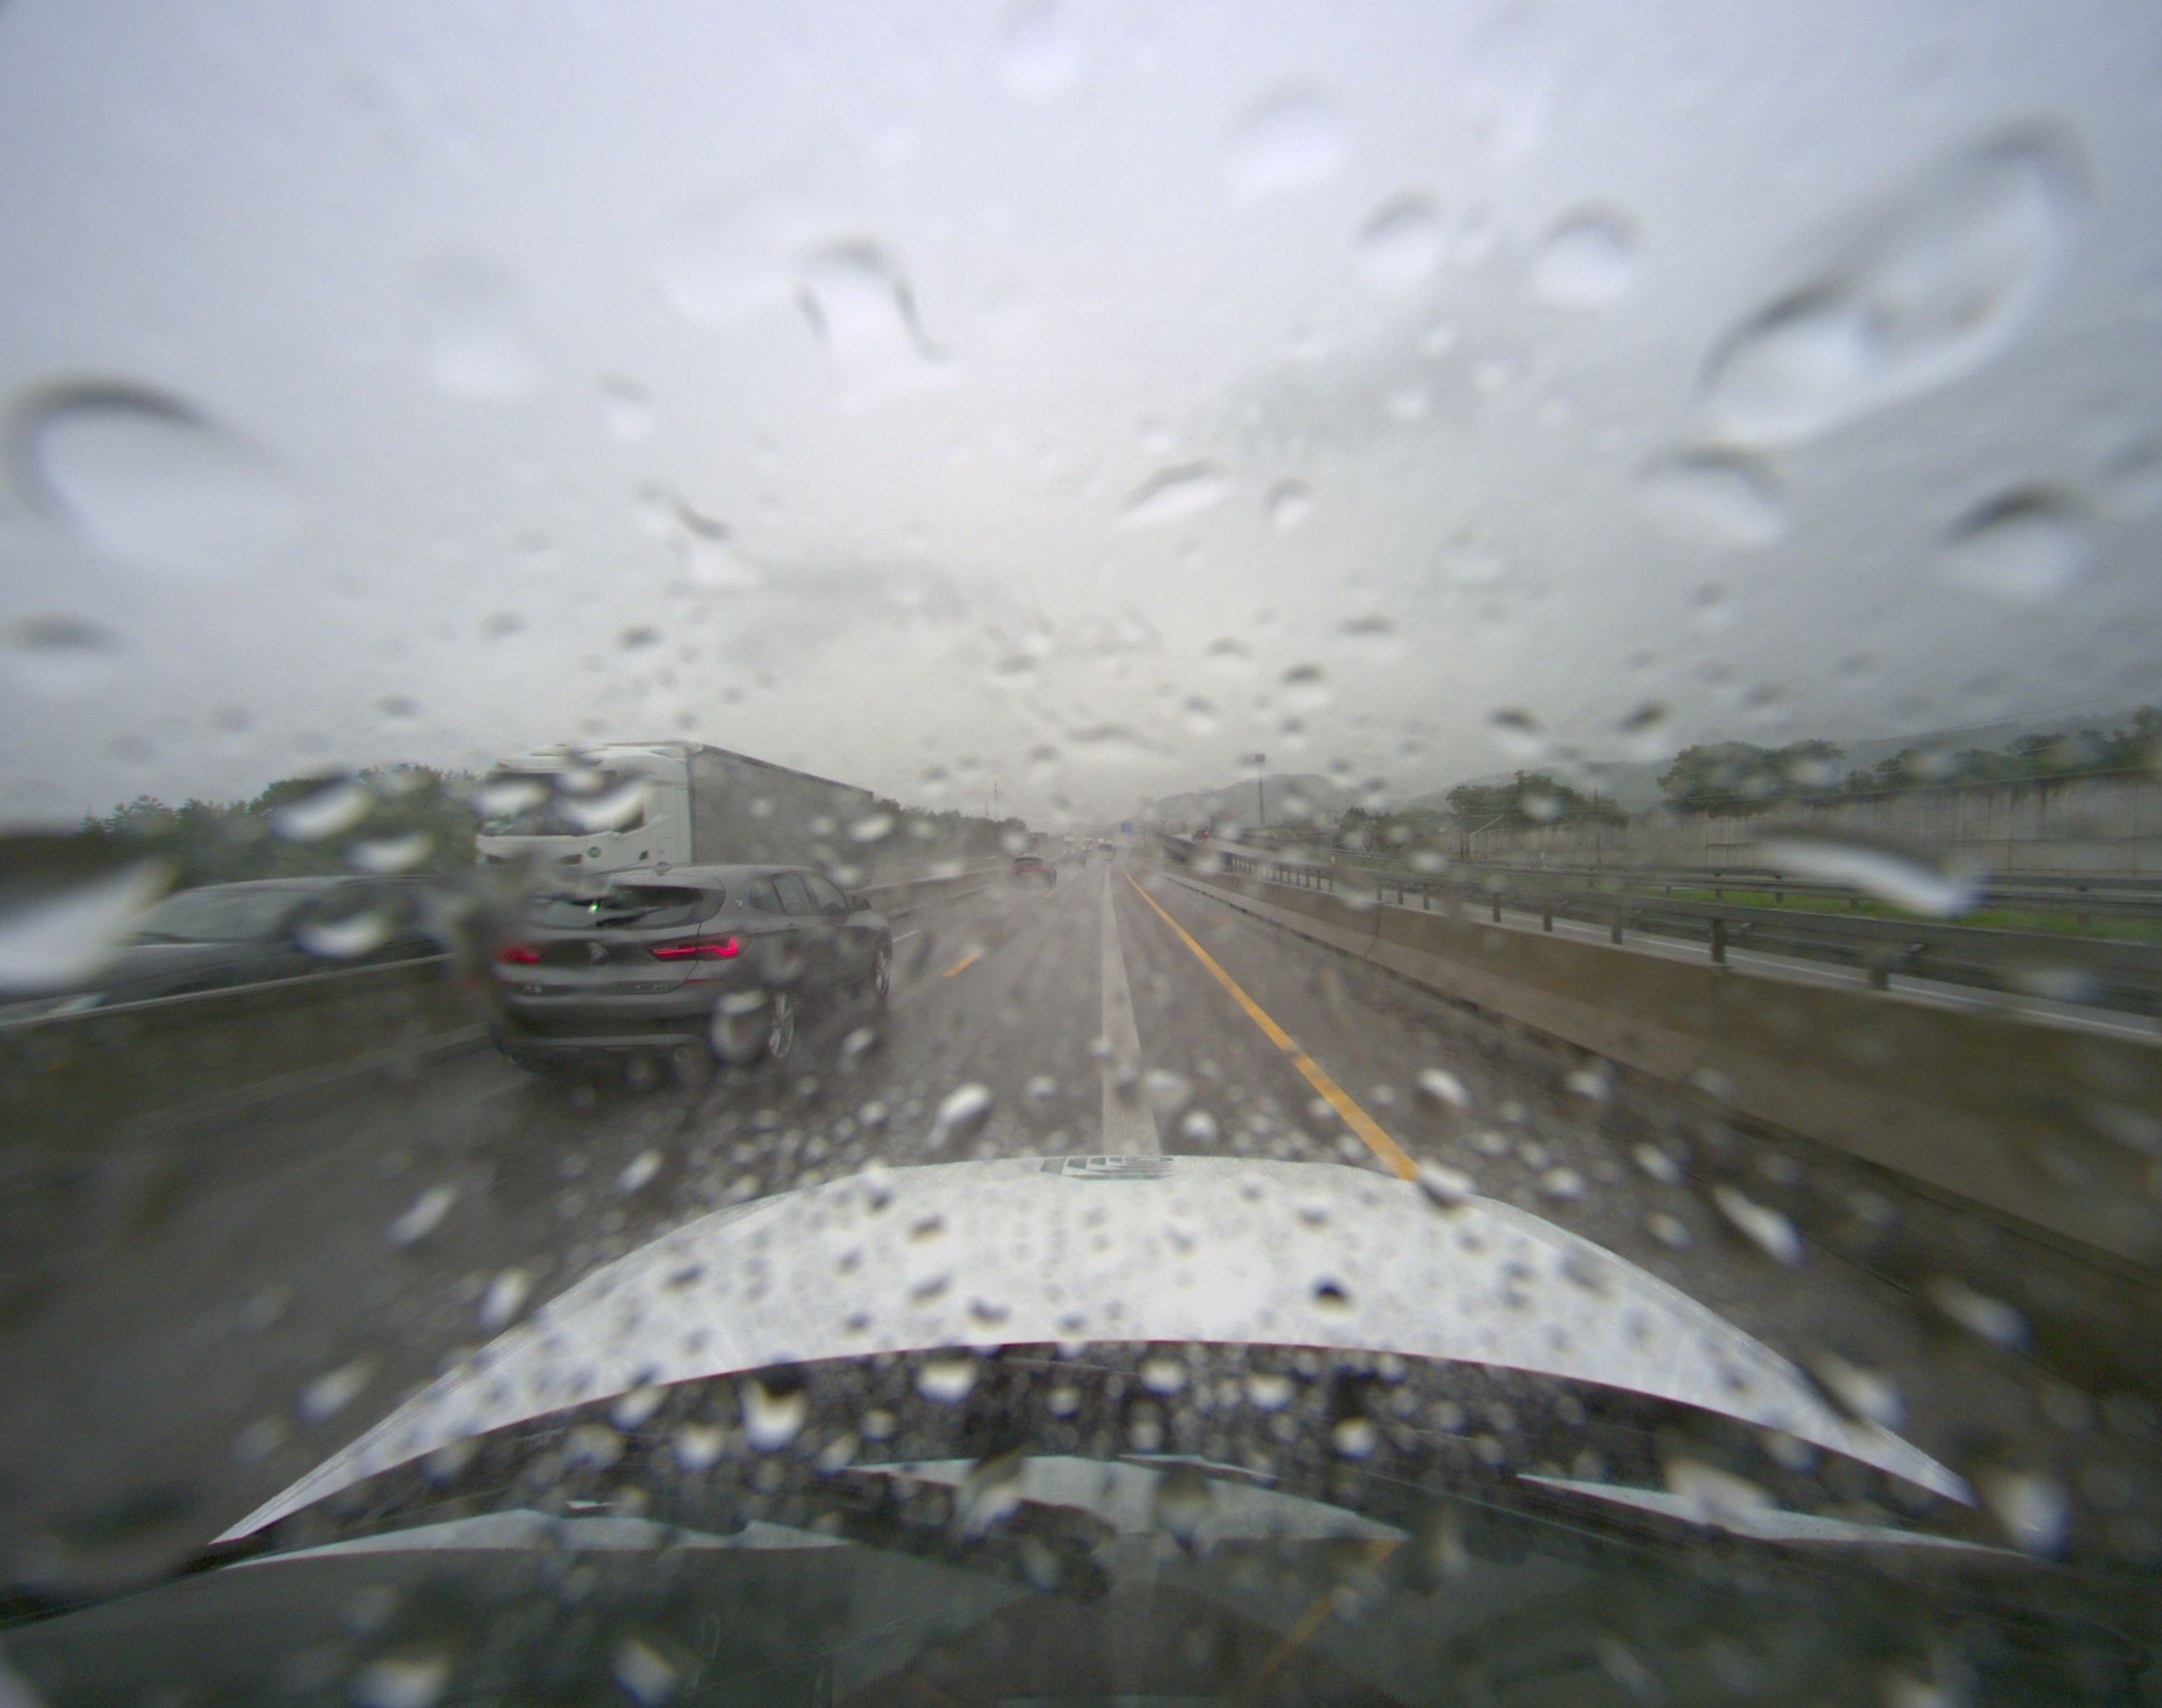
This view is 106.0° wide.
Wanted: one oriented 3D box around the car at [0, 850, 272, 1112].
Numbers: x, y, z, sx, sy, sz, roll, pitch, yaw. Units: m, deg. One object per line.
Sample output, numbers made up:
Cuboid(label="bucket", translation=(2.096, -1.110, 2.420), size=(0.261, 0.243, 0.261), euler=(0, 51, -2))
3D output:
Cuboid(label="car", translation=(-7.074, 0.711, 4.108), size=(1.886, 1.484, 4.001), euler=(0, 0, 2))

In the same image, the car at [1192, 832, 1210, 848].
Cuboid(label="car", translation=(16.975, -1.899, 115.491), size=(1.986, 2.142, 4.001), euler=(-1, -1, 1))

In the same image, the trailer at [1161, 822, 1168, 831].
Cuboid(label="trailer", translation=(24.921, -8.158, 242.833), size=(1.984, 2.106, 13.786), euler=(-1, 0, 5))

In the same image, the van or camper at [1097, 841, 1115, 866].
Cuboid(label="van or camper", translation=(2.842, -0.062, 92.848), size=(1.989, 2.777, 4.050), euler=(-1, -1, 1))

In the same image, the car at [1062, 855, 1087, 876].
Cuboid(label="car", translation=(-0.496, 0.891, 65.412), size=(1.838, 1.491, 4.263), euler=(-4, 1, 1))

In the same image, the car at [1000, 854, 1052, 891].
Cuboid(label="car", translation=(-2.318, 0.769, 35.400), size=(1.837, 1.491, 4.262), euler=(-1, -1, 1))

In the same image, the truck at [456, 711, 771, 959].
Cuboid(label="truck", translation=(-9.425, -0.311, 17.553), size=(2.698, 4.277, 6.752), euler=(-1, -1, 2))

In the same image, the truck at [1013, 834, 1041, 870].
Cuboid(label="truck", translation=(-6.501, -0.206, 99.016), size=(2.632, 4.127, 6.698), euler=(-1, -1, 2))

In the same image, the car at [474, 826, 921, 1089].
Cuboid(label="car", translation=(-2.875, 0.663, 7.509), size=(1.694, 1.598, 4.846), euler=(-1, 0, 1))

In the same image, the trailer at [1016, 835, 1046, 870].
Cuboid(label="trailer", translation=(-6.306, -0.117, 104.555), size=(2.640, 4.109, 12.320), euler=(-1, -1, 2))

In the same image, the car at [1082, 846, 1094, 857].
Cuboid(label="car", translation=(0.998, -0.354, 117.895), size=(1.561, 1.480, 2.822), euler=(-4, -1, 1))

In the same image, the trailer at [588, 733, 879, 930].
Cuboid(label="trailer", translation=(-9.225, -0.437, 24.320), size=(2.676, 4.277, 13.076), euler=(-1, -1, 2))
